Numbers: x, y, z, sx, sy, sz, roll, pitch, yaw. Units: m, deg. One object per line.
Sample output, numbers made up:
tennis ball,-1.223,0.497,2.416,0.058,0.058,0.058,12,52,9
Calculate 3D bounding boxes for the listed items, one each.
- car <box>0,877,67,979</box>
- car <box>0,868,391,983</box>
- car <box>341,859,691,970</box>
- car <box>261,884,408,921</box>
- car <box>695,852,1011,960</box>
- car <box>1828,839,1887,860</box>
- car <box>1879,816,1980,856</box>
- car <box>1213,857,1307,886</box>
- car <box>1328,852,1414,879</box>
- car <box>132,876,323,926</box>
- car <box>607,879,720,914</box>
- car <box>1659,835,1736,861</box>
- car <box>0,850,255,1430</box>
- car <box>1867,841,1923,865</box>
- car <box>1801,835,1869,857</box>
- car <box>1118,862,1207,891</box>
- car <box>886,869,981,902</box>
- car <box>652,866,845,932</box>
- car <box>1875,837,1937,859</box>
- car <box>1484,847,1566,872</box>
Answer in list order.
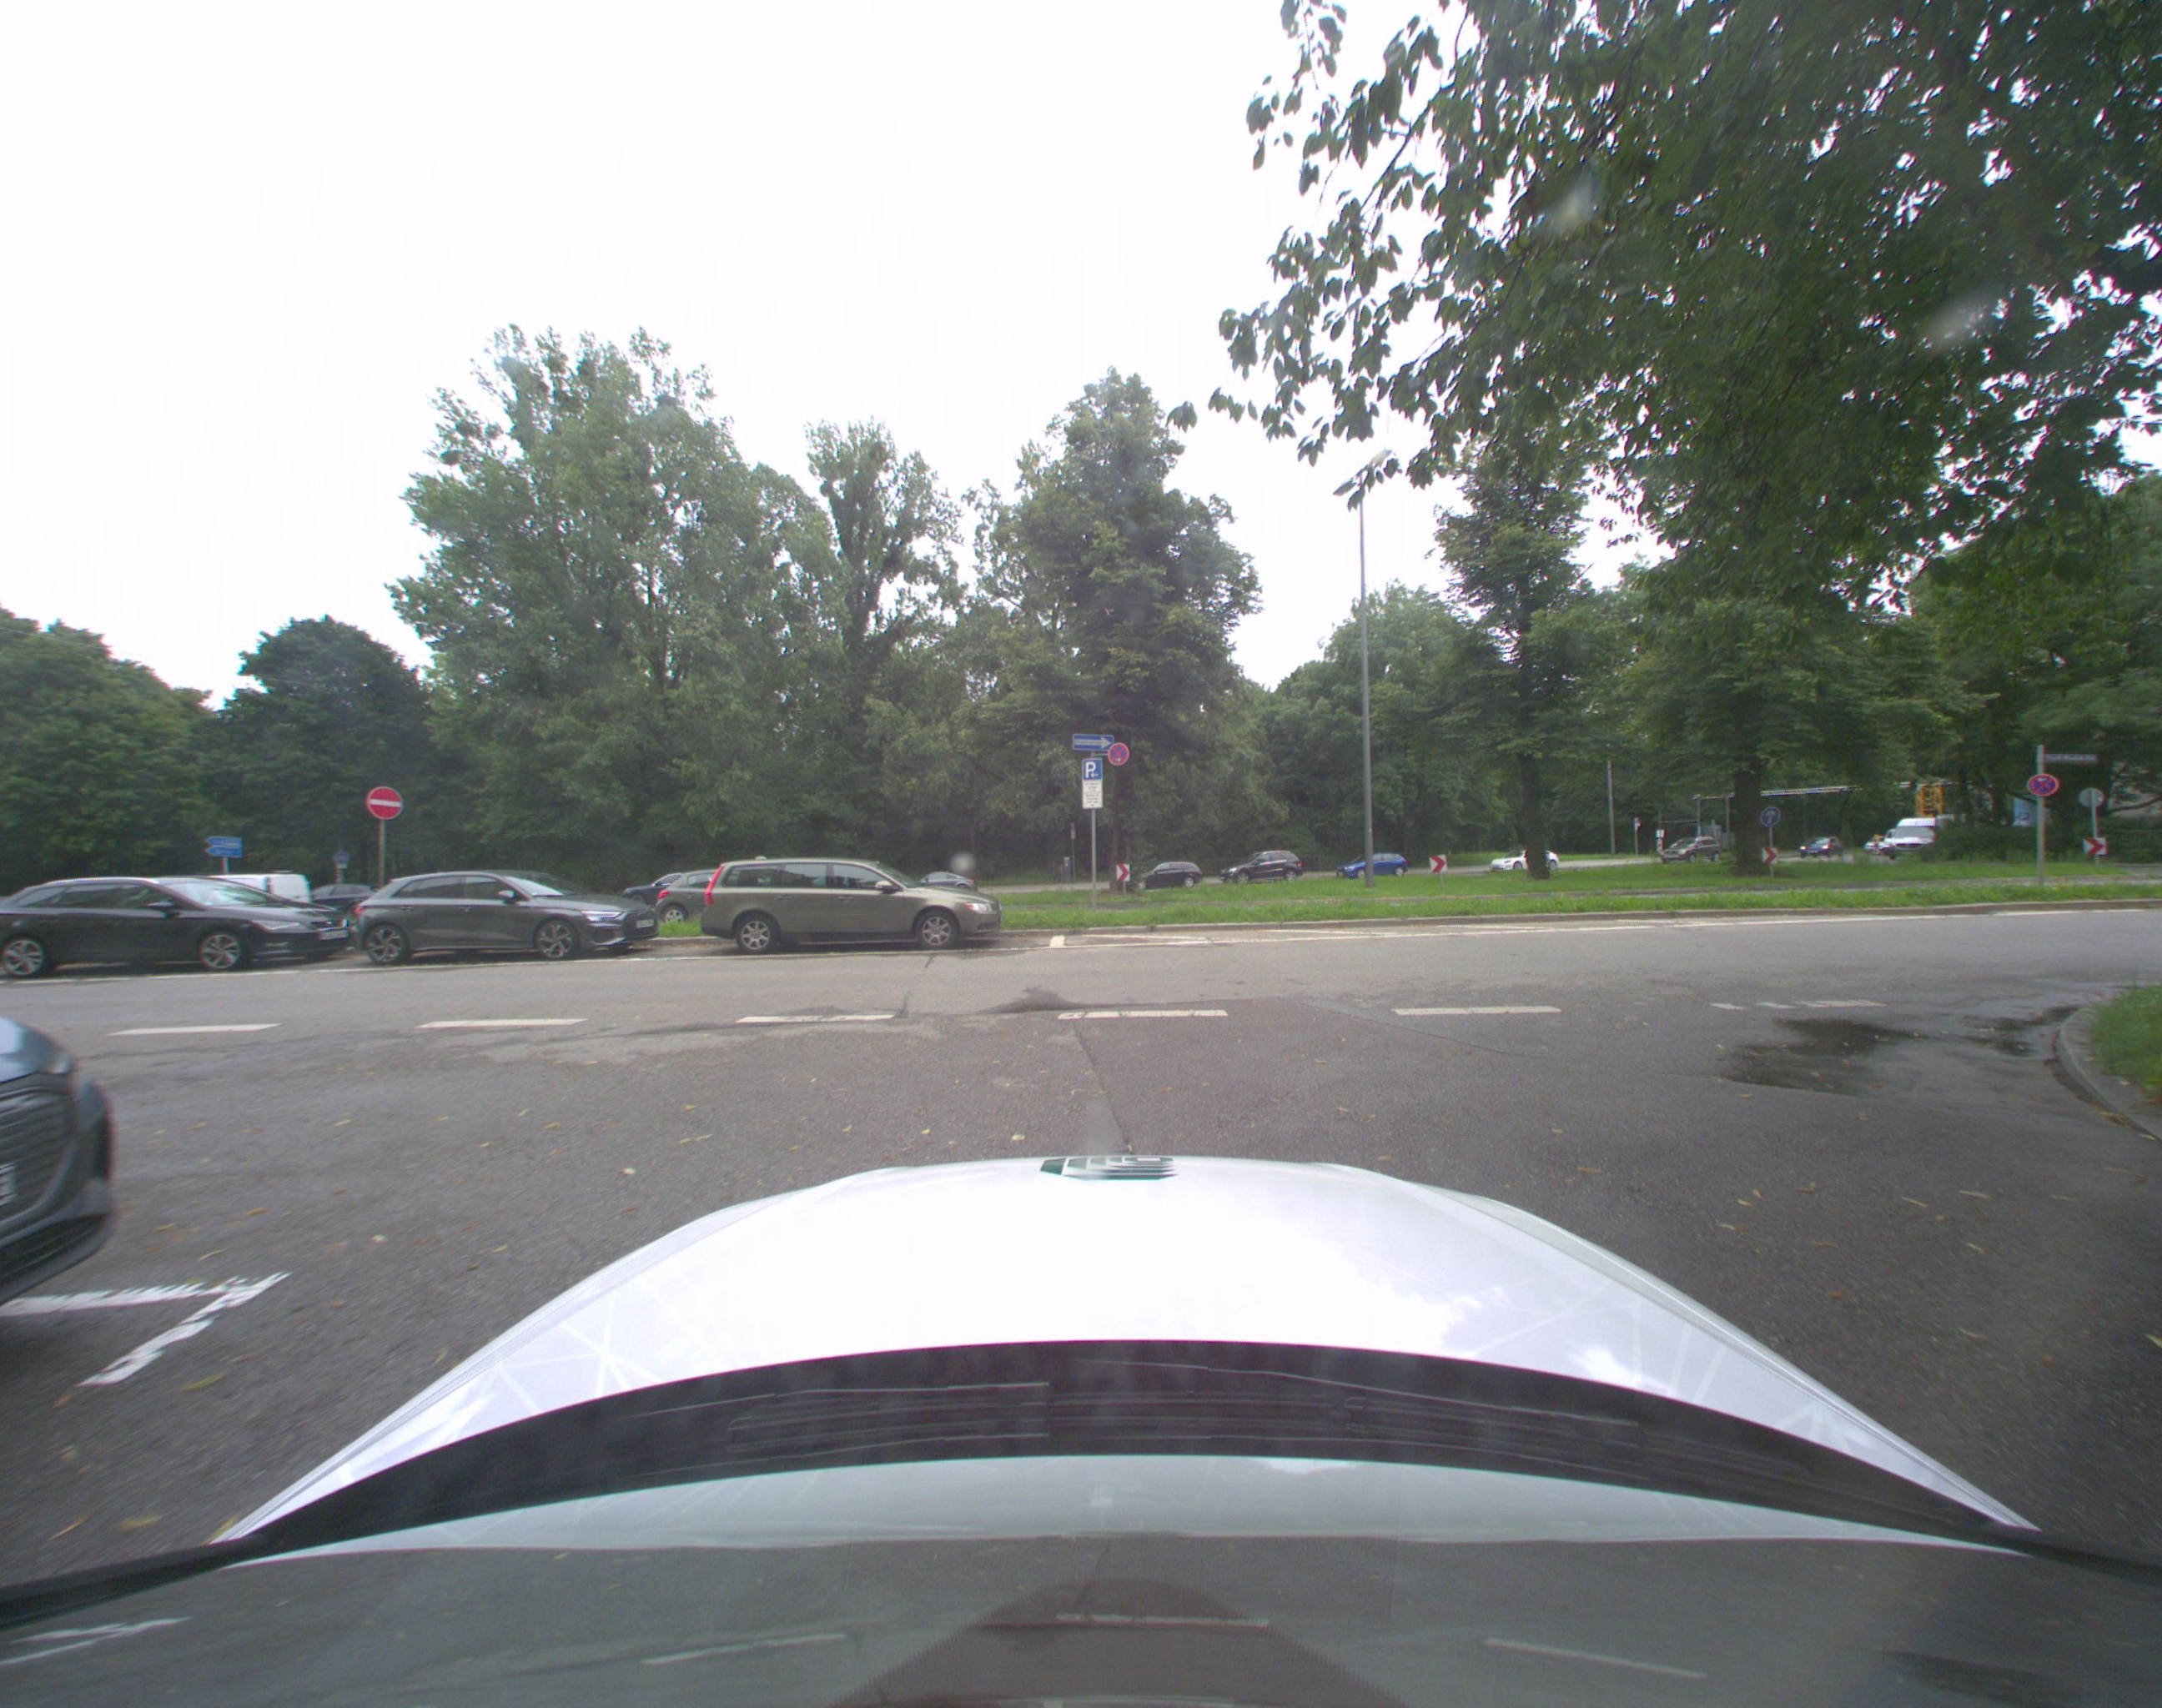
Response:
car,-18.933,1.205,12.318,4.266,1.565,1.988,-1,-1,-8
car,-14.035,1.063,12.949,4.262,1.565,1.990,-1,-1,-6
car,-9.006,0.922,13.308,4.257,1.565,1.992,-1,-1,-2
car,-32.611,2.097,35.731,4.306,1.446,1.992,-1,-2,-12
car,-3.640,0.814,13.704,4.742,1.565,1.903,-1,-1,-2
car,58.976,-0.326,61.821,4.244,1.446,1.818,-1,-2,-26
car,52.125,-1.101,50.035,5.126,2.270,2.294,-1,-1,-19
car,9.977,0.985,45.428,4.765,1.446,1.988,-1,-2,-18
car,17.004,0.698,47.778,4.422,1.446,1.987,-1,-2,-19
car,-28.079,1.525,26.915,3.980,1.446,1.997,-1,-1,-5
car,-19.543,1.960,38.312,4.306,1.446,1.992,-1,-2,-12
car,43.065,-0.415,56.885,4.646,1.718,1.987,-1,-2,-19
car,-4.996,0.814,1.729,4.232,1.565,1.820,-1,-1,-11
car,67.278,-0.078,67.311,4.001,1.874,1.684,-1,-1,-21
car,54.397,-0.597,58.733,4.032,1.446,1.885,-1,-1,-19
car,4.371,1.208,43.933,4.315,1.446,1.988,-1,-2,-18
car,-7.349,1.549,40.685,4.513,1.446,1.992,-1,-2,-11
car,-8.181,1.085,20.334,4.050,1.461,1.763,-1,-1,-2
car,60.381,-0.458,59.603,4.308,1.446,1.881,-1,-1,-26
car,27.854,0.344,51.118,4.422,1.446,1.987,-1,-2,-19
